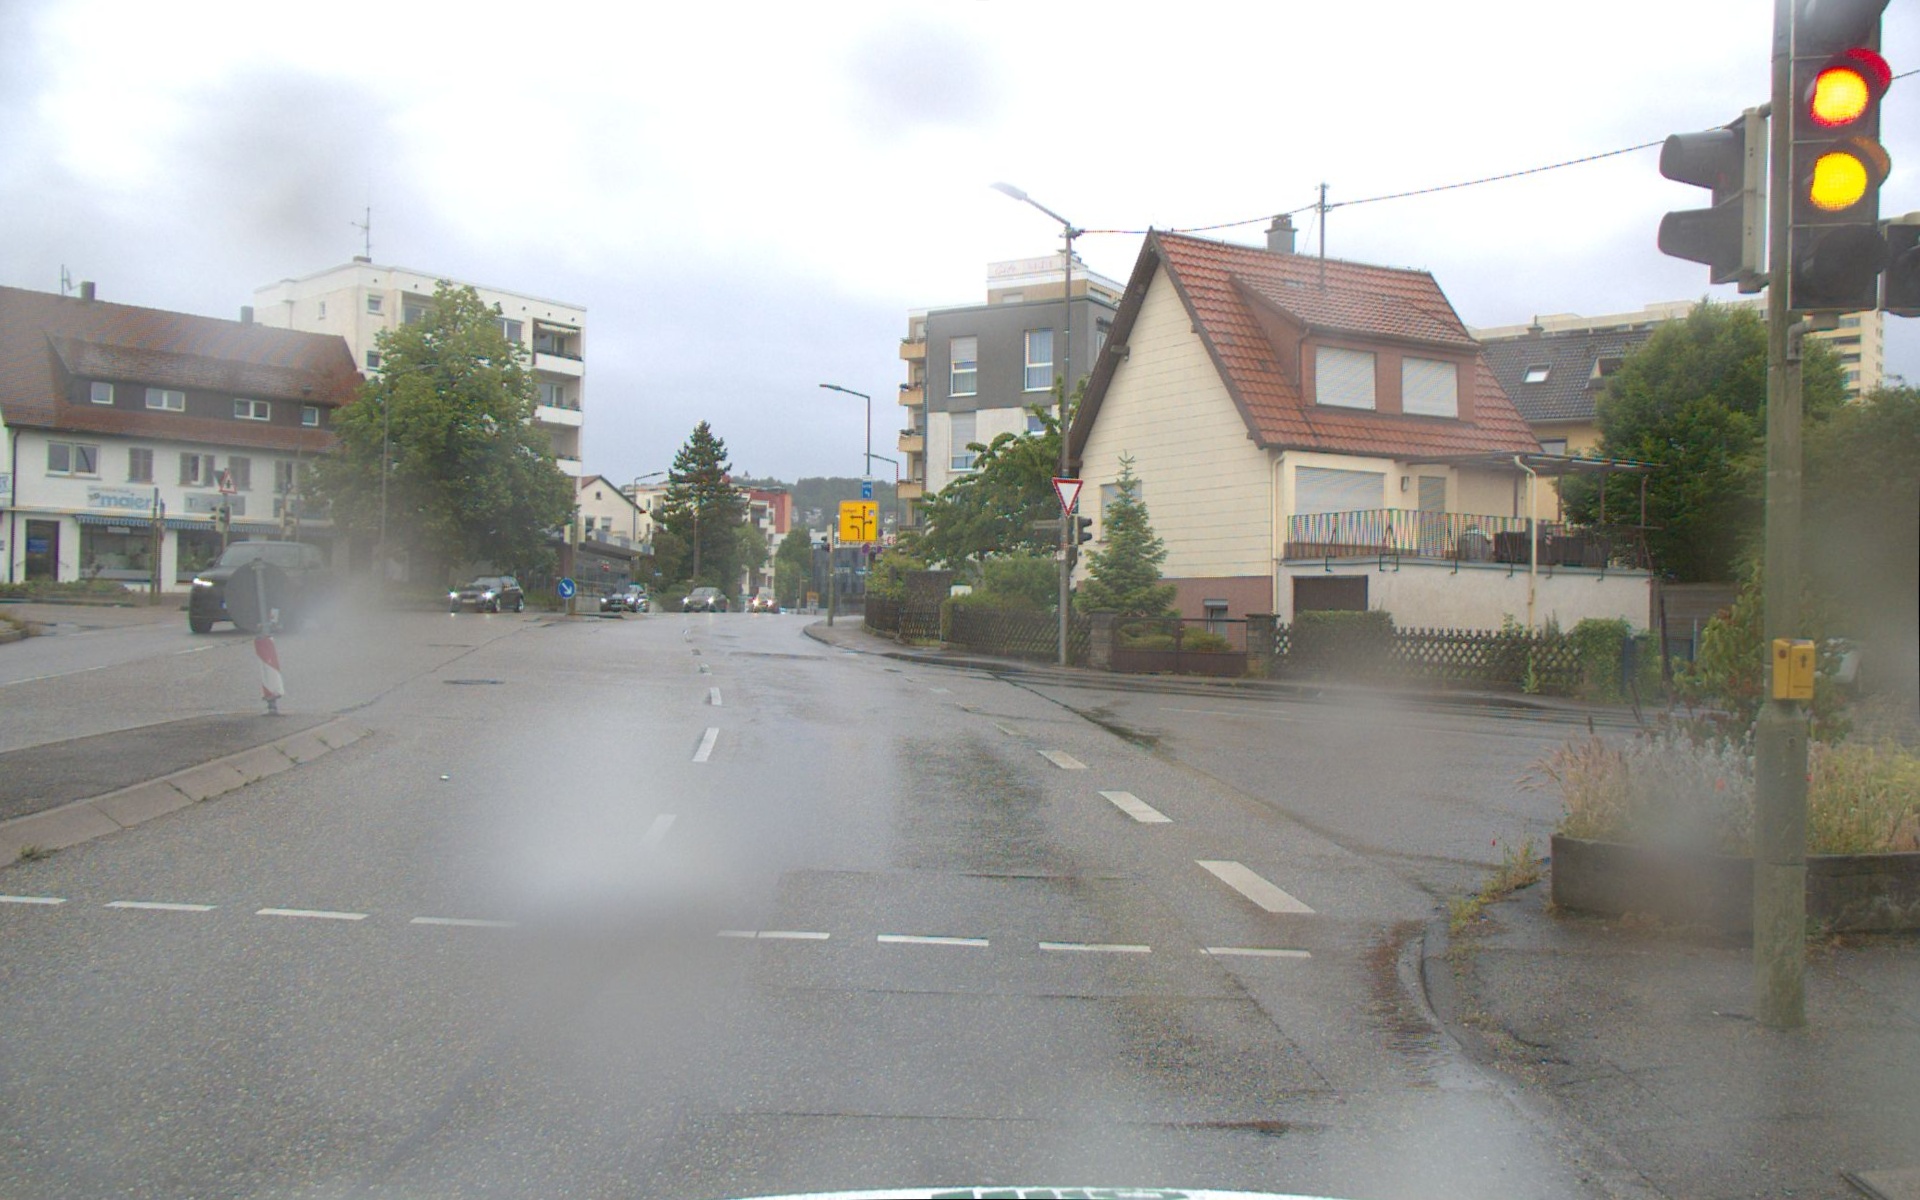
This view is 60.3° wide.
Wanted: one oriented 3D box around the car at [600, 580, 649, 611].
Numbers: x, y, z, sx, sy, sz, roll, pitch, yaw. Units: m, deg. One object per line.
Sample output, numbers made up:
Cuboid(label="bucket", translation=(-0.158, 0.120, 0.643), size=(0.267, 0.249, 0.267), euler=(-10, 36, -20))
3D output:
Cuboid(label="car", translation=(-16.891, -0.229, 83.372), size=(1.955, 1.489, 3.995), euler=(1, 0, -5))

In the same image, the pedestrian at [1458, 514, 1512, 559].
Cuboid(label="pedestrian", translation=(11.155, -1.347, 35.166), size=(0.902, 0.898, 0.632), euler=(1, -2, -20))

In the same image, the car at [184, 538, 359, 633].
Cuboid(label="car", translation=(-14.072, -0.269, 34.135), size=(1.956, 1.768, 5.173), euler=(1, 0, -7))

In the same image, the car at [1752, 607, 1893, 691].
Cuboid(label="car", translation=(15.625, 0.852, 29.865), size=(1.780, 1.386, 3.986), euler=(1, 0, 35))

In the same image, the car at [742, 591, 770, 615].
Cuboid(label="car", translation=(-15.788, 0.246, 128.293), size=(1.955, 1.843, 3.995), euler=(1, 0, -5))

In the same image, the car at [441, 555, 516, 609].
Cuboid(label="car", translation=(-18.140, -0.637, 62.525), size=(1.955, 1.937, 3.995), euler=(1, 0, -5))

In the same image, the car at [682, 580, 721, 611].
Cuboid(label="car", translation=(-14.833, -0.226, 95.140), size=(1.955, 1.708, 3.995), euler=(1, 0, -5))
